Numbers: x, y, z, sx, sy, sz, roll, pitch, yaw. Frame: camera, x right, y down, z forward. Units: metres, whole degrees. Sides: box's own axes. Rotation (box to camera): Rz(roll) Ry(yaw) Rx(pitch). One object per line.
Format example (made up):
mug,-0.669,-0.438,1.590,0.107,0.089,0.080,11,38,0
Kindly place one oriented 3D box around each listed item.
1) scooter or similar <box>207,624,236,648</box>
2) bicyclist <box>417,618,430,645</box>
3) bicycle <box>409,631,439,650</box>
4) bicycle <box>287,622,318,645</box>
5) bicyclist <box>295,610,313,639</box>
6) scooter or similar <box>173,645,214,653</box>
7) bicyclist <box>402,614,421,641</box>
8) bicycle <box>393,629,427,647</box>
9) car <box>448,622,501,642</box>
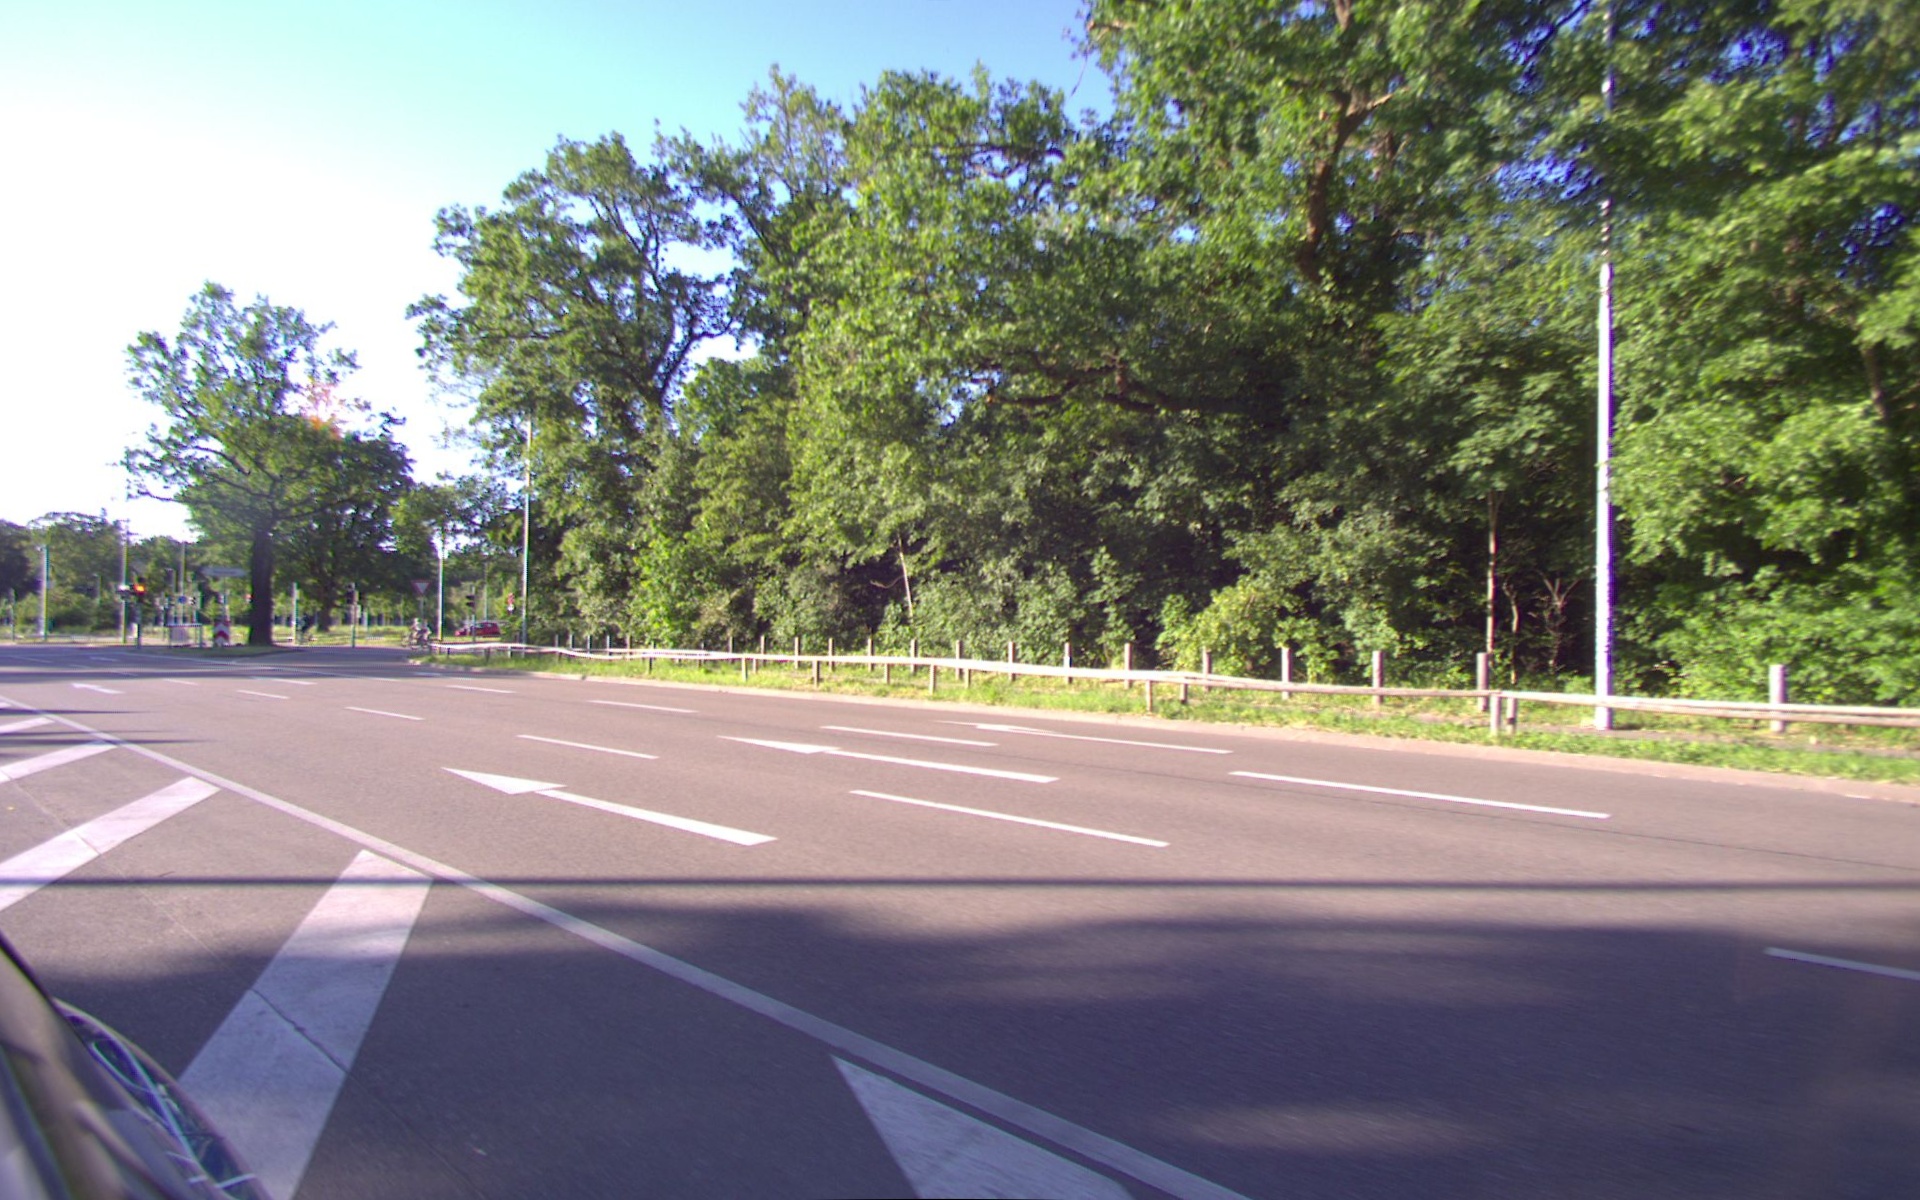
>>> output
scooter or similar,-34.642,1.687,47.474,1.054,1.155,0.394,1,-3,-44
bicyclist,-29.535,1.731,55.731,0.521,1.411,0.520,-1,0,-12
bicycle,-29.510,2.216,55.731,1.333,0.984,0.524,-1,0,-12
bicycle,-35.820,1.827,55.095,1.978,1.163,0.674,-3,-2,33
bicyclist,-35.649,1.345,54.981,0.798,1.563,0.557,-4,-3,33
scooter or similar,-36.085,2.286,47.652,1.391,0.342,1.261,1,-3,-44
bicyclist,-31.098,1.536,57.359,0.787,1.494,0.732,-1,0,-12
bicycle,-31.155,2.166,57.337,1.564,0.984,0.787,-1,0,-12
car,-41.061,2.679,85.619,3.932,1.521,1.661,-1,0,-32
